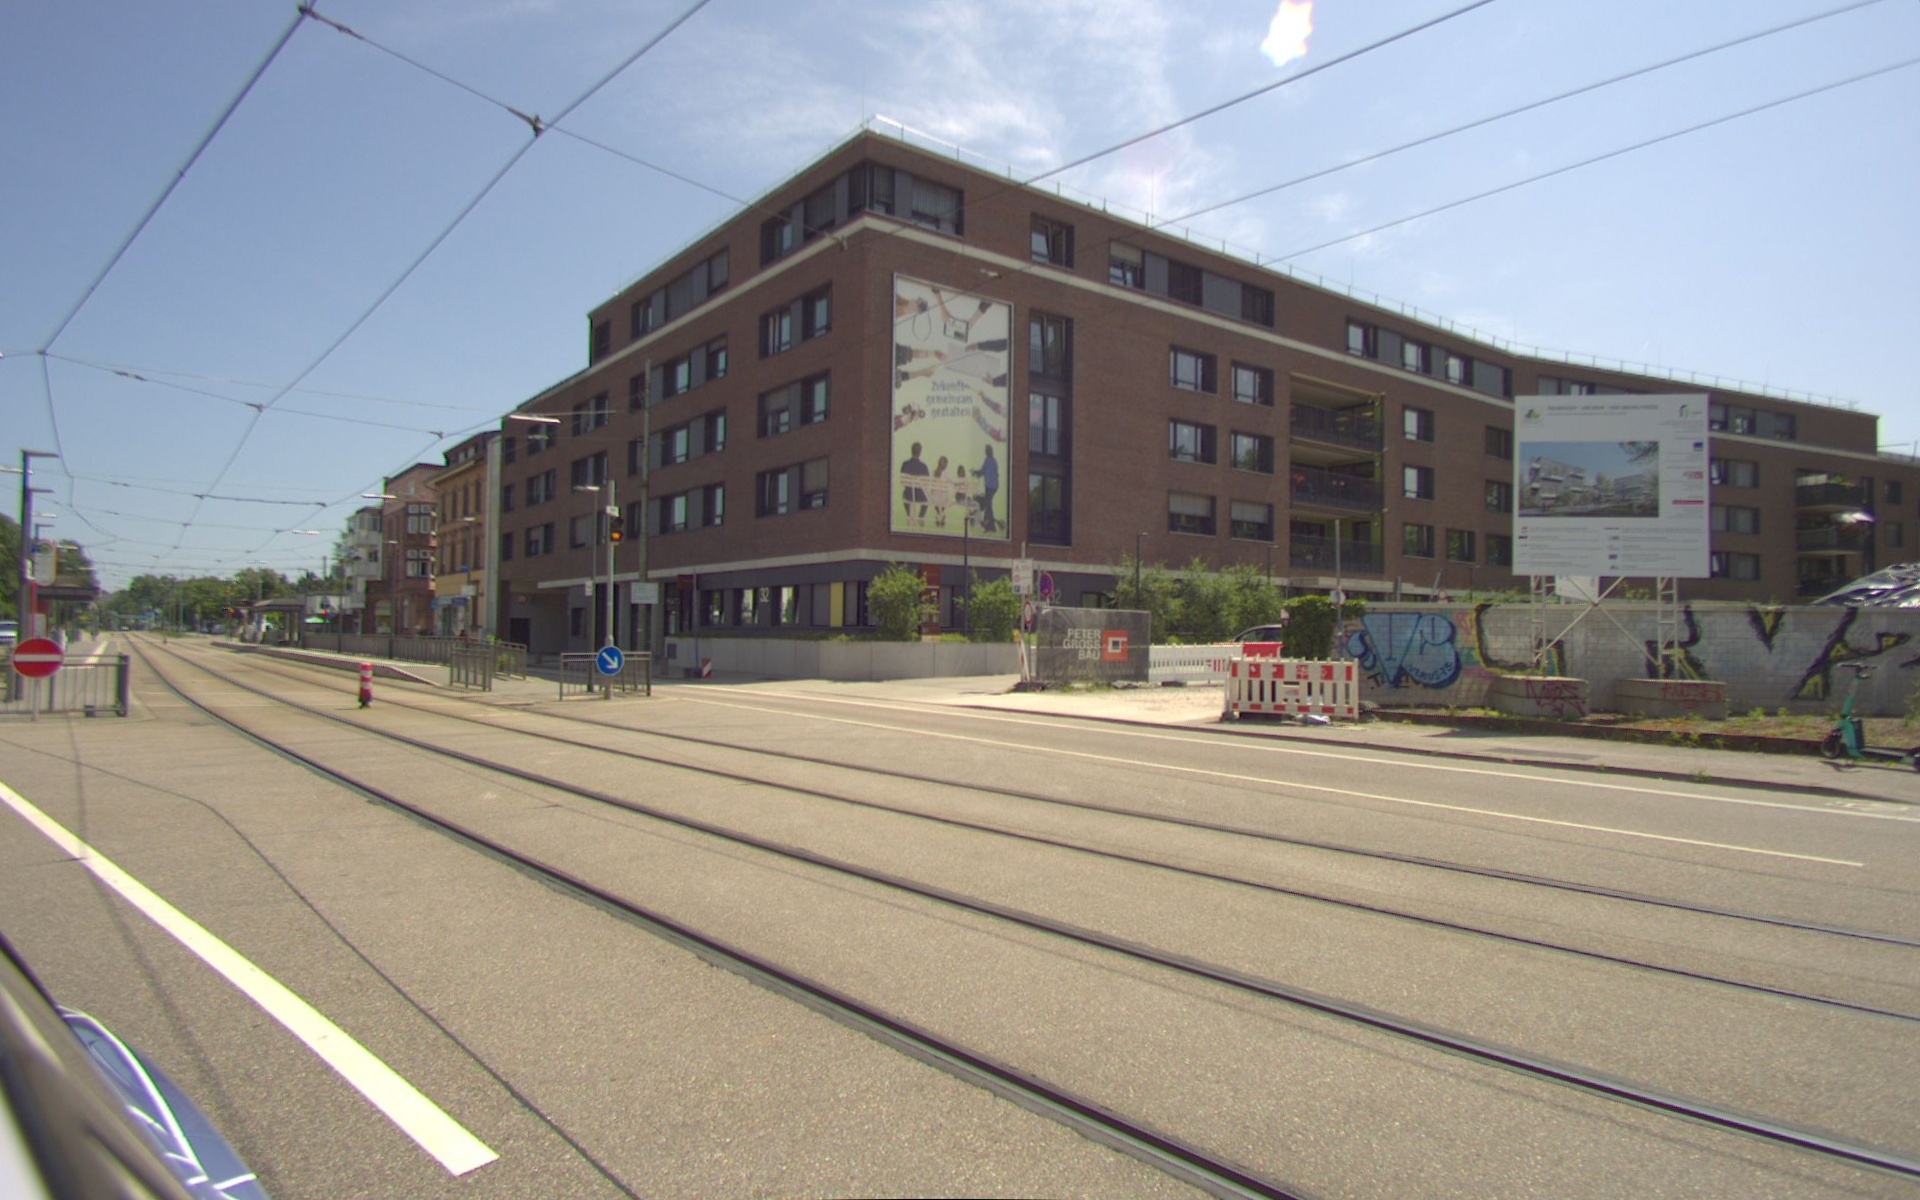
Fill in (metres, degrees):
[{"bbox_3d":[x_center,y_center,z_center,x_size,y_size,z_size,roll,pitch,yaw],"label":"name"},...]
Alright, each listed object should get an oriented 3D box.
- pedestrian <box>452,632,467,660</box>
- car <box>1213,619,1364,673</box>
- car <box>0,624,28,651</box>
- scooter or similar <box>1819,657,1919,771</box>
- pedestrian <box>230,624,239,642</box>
[{"bbox_3d":[-29.325,2.680,59.321,0.596,1.608,0.716,2,-3,-42],"label":"pedestrian"},{"bbox_3d":[9.590,1.324,29.822,1.708,1.479,4.009,1,-2,-36],"label":"car"},{"bbox_3d":[-57.610,2.232,61.145,4.489,1.567,1.724,-2,-2,45],"label":"car"},{"bbox_3d":[11.055,1.332,12.031,0.340,1.274,1.246,0,-1,-23],"label":"scooter or similar"},{"bbox_3d":[-66.676,3.047,93.017,0.588,1.637,0.677,4,-4,-40],"label":"pedestrian"}]
